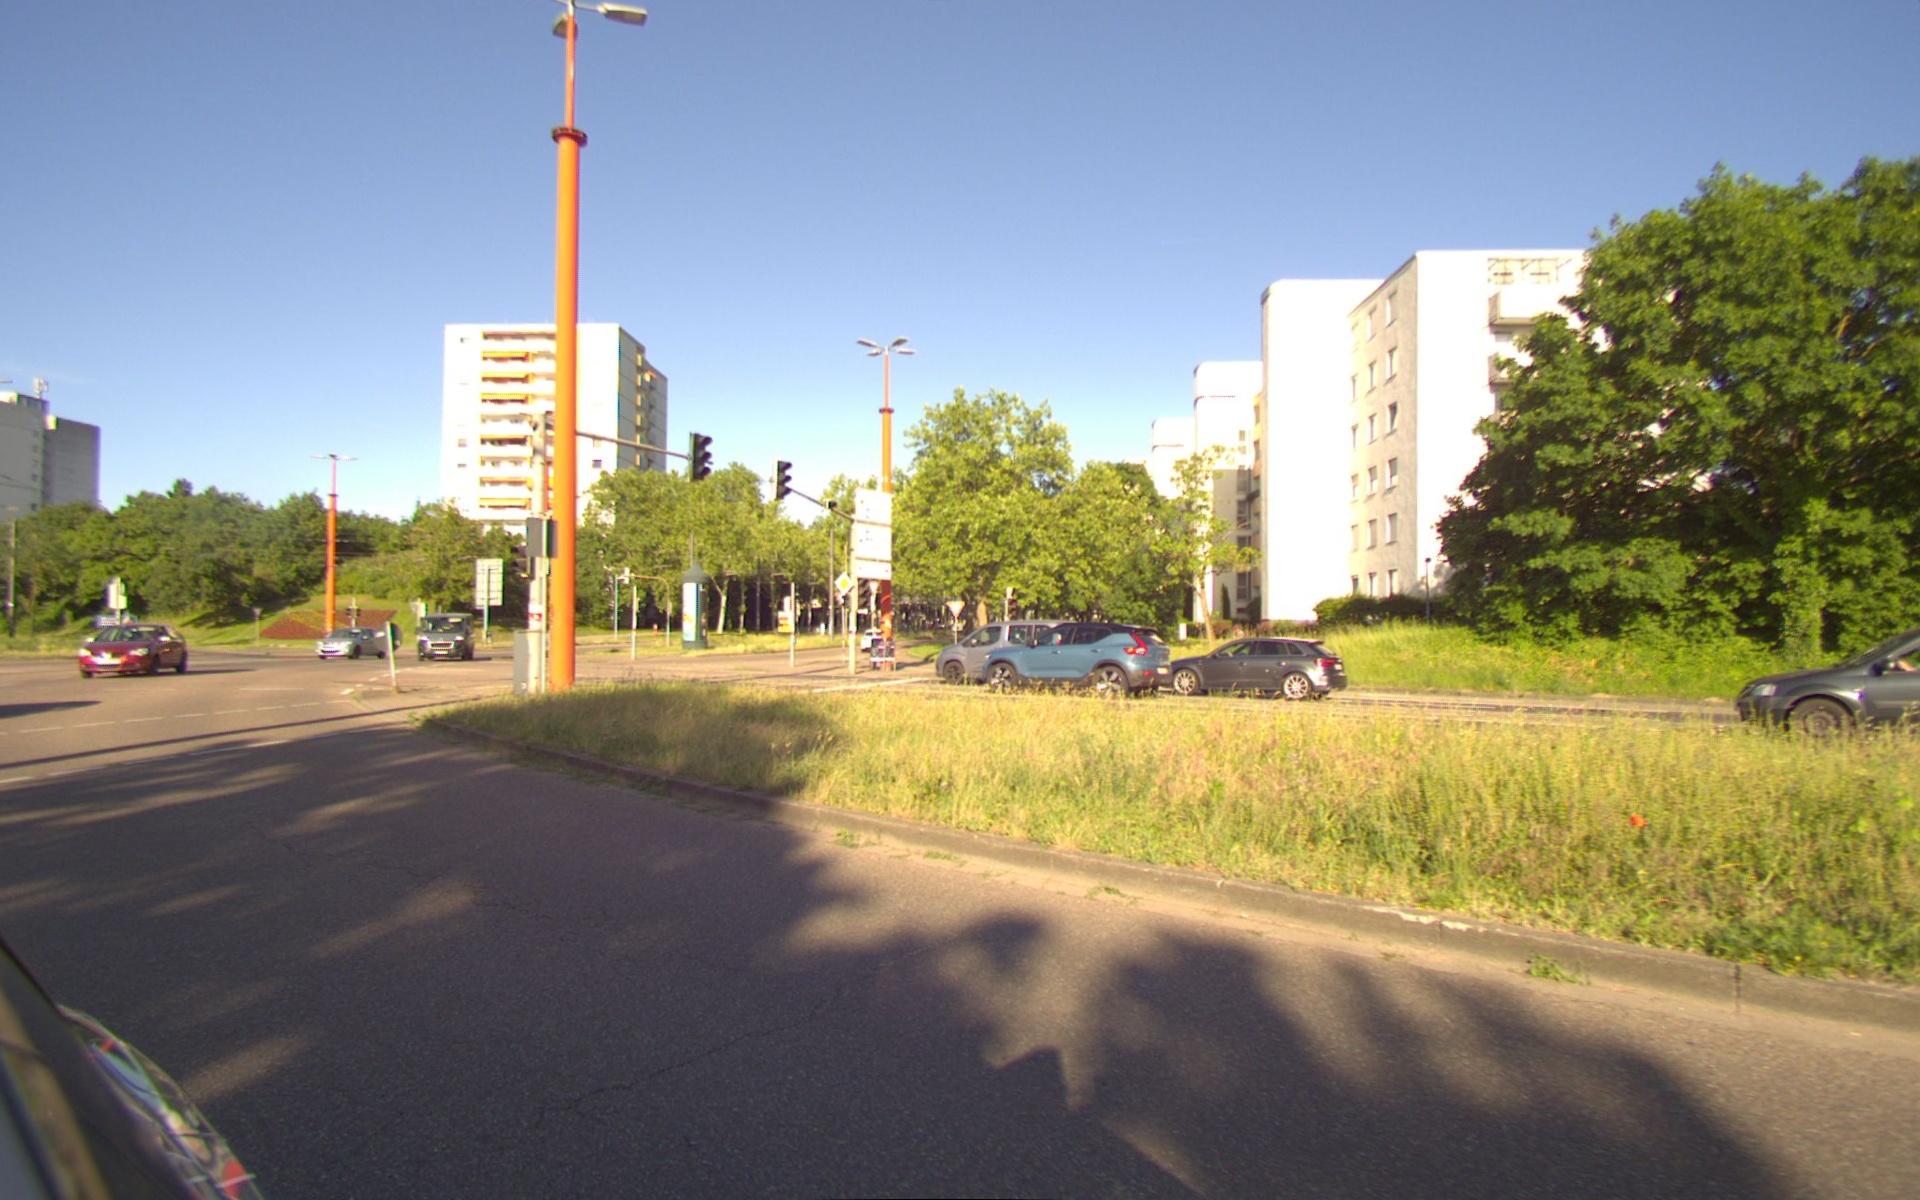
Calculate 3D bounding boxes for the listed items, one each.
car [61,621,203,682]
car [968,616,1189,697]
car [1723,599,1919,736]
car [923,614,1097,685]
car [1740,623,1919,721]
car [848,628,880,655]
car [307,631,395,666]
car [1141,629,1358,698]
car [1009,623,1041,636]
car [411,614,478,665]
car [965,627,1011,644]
[{"bbox_3d":[-23.200,1.414,28.575,1.742,1.570,4.741,0,-2,-22],"label":"car"},{"bbox_3d":[2.572,1.227,22.447,4.555,1.623,1.882,-2,-4,35],"label":"car"},{"bbox_3d":[12.027,0.812,12.067,4.555,1.577,1.882,-2,-4,35],"label":"car"},{"bbox_3d":[1.327,1.355,27.685,4.436,1.789,1.882,-2,-4,35],"label":"car"},{"bbox_3d":[16.487,1.248,17.551,4.555,1.623,1.882,-2,-4,35],"label":"car"},{"bbox_3d":[-6.119,2.649,64.816,1.876,1.562,4.263,3,-2,-4],"label":"car"},{"bbox_3d":[-29.348,2.323,48.926,1.885,1.570,4.733,0,-2,-7],"label":"car"},{"bbox_3d":[6.750,1.458,23.806,4.555,1.486,1.882,-2,-4,35],"label":"car"},{"bbox_3d":[9.572,4.331,148.306,4.359,1.934,2.026,0,-3,-35],"label":"car"},{"bbox_3d":[-24.238,1.837,47.796,2.006,2.221,5.679,0,-2,-19],"label":"car"},{"bbox_3d":[2.589,3.345,94.590,3.981,1.498,1.819,0,-3,-34],"label":"car"}]
